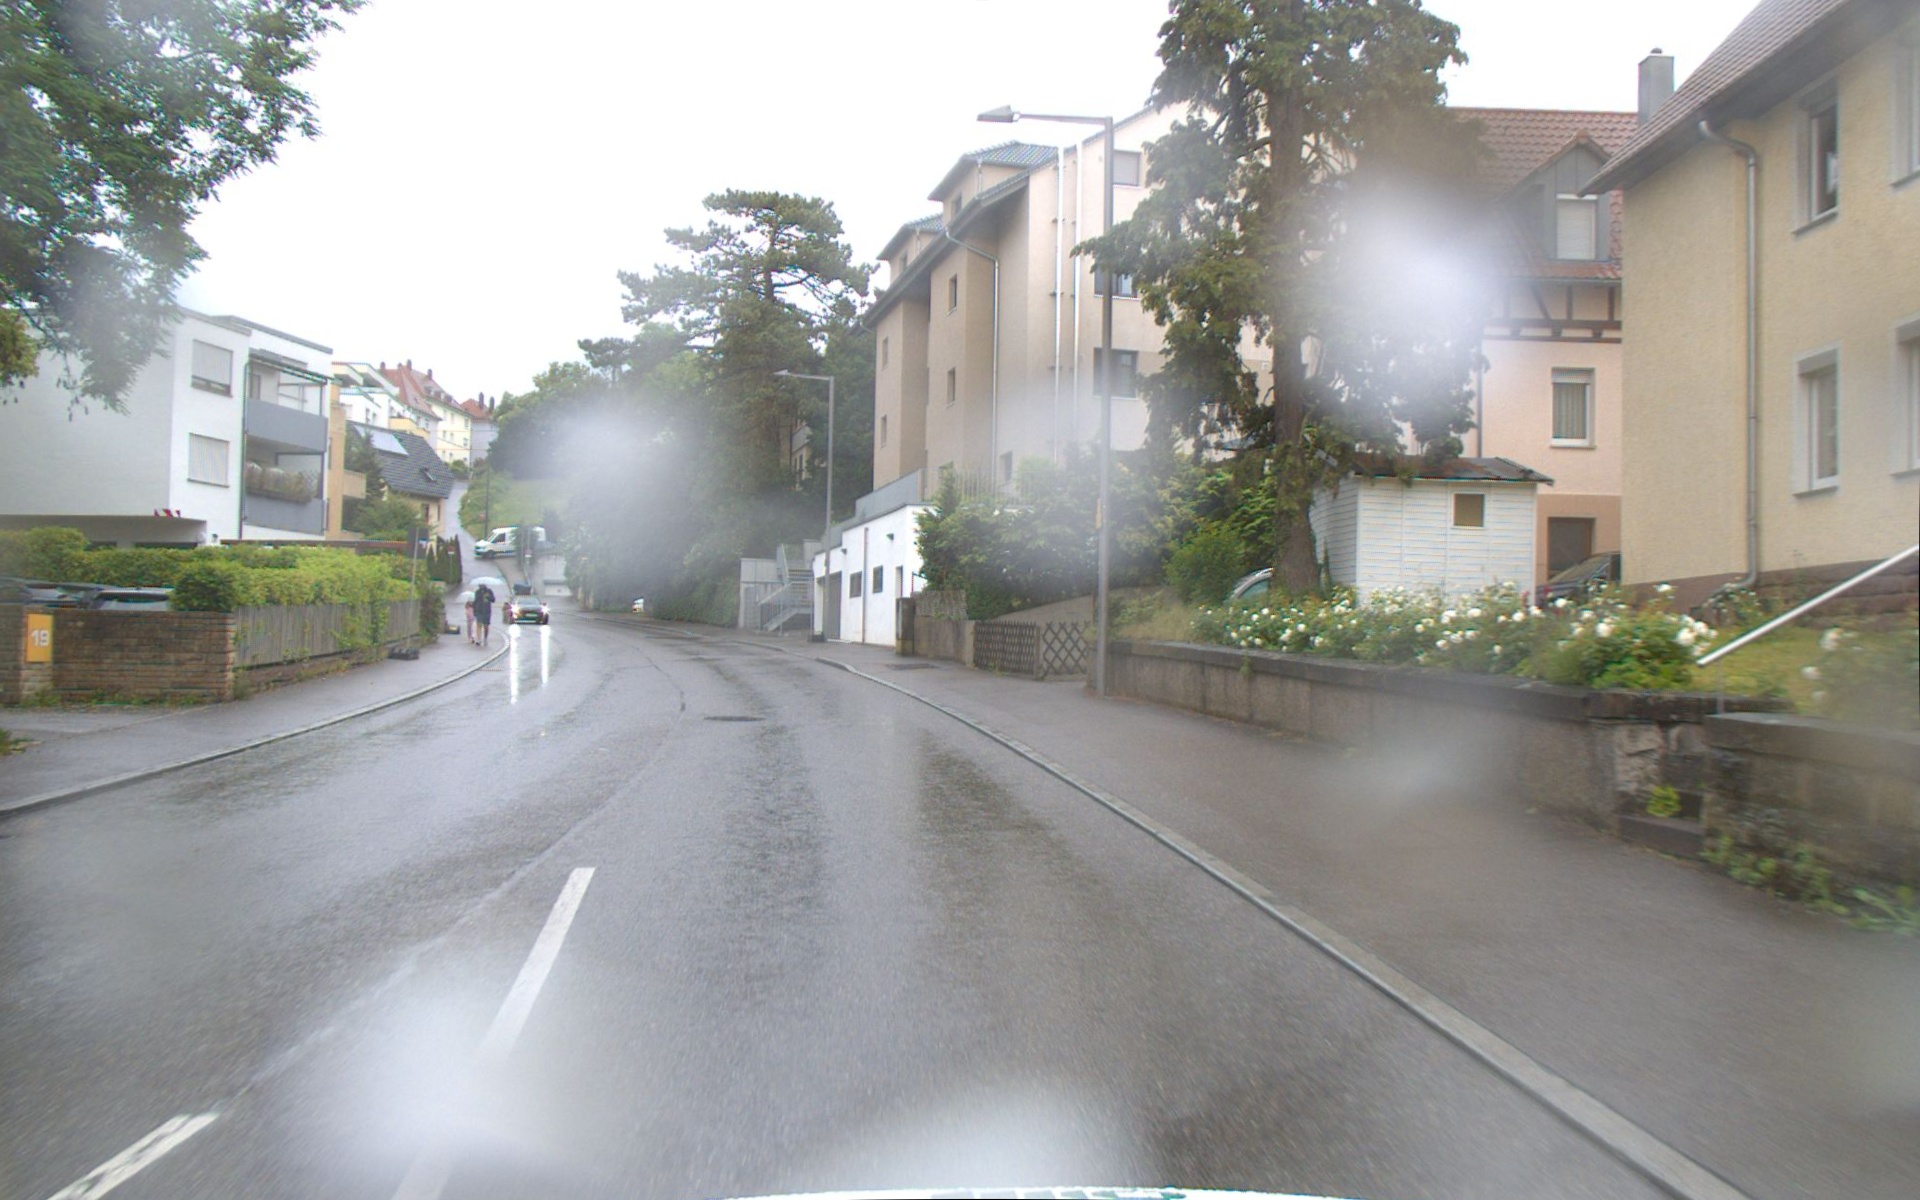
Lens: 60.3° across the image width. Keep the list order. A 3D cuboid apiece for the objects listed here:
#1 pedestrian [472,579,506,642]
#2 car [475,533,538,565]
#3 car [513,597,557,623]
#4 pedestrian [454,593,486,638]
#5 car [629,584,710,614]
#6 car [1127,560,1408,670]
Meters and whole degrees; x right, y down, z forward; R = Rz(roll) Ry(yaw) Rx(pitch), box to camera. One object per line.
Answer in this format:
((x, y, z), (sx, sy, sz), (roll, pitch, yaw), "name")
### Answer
((-12.816, 0.277, 44.984), (0.743, 1.672, 1.036), (3, -1, -13), "pedestrian")
((-38.536, -4.355, 140.462), (4.882, 2.614, 1.889), (-2, 1, -26), "car")
((-19.416, 0.445, 75.654), (1.649, 1.166, 3.990), (0, 0, -10), "car")
((-13.639, 0.426, 46.067), (0.743, 1.200, 1.036), (2, 0, -13), "pedestrian")
((-15.959, -0.061, 90.968), (4.086, 1.502, 1.892), (-2, 2, -22), "car")
((4.957, 0.232, 27.111), (4.229, 1.682, 1.963), (-1, 0, -1), "car")
